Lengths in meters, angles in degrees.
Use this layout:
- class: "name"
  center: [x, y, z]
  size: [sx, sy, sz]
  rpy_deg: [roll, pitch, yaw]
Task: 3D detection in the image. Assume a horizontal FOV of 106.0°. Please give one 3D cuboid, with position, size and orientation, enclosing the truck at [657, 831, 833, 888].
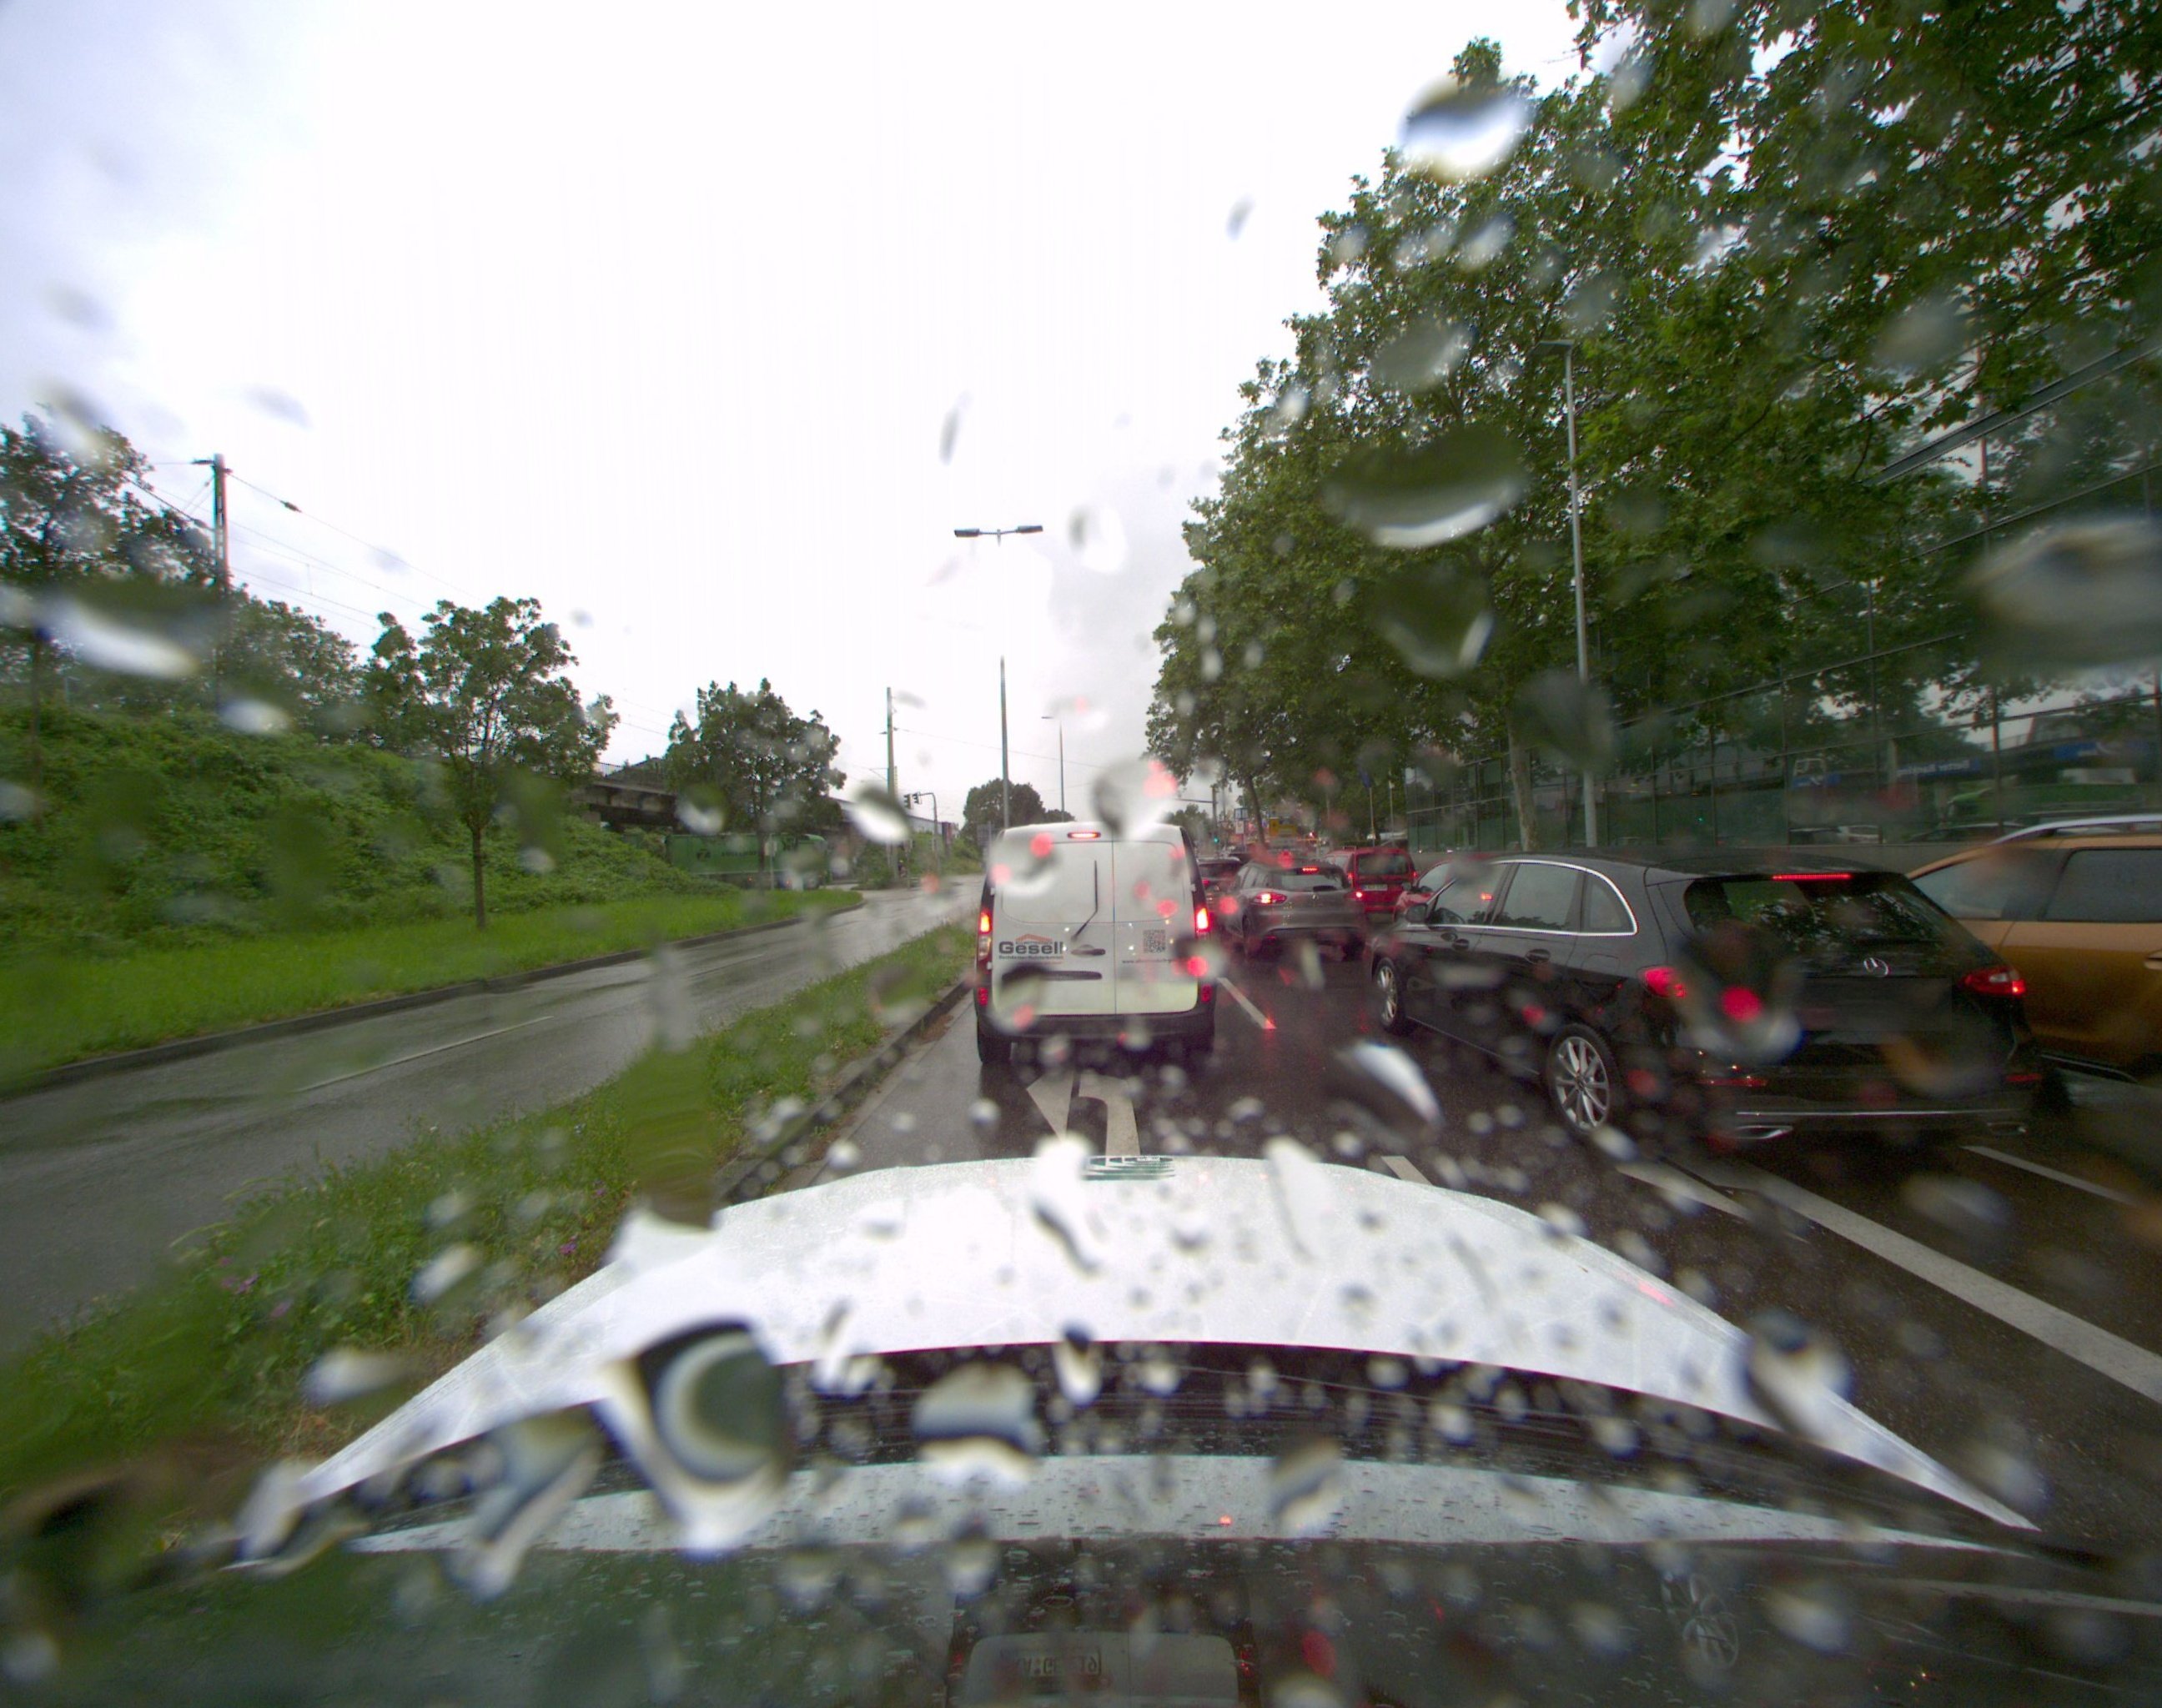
- class: "truck"
  center: [-21.357, 0.256, 52.275]
  size: [10.105, 3.371, 2.322]
  rpy_deg: [-2, 0, -35]

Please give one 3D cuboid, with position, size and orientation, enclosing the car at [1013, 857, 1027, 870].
- class: "car"
  center: [-7.970, 1.177, 106.759]
  size: [1.463, 1.559, 3.508]
  rpy_deg: [-2, 0, 1]

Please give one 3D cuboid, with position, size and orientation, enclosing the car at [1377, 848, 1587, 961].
- class: "car"
  center: [5.889, 0.663, 12.411]
  size: [1.563, 1.462, 3.390]
  rpy_deg: [-1, 0, 1]

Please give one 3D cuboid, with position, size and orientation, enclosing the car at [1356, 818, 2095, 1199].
- class: "car"
  center: [3.381, 0.645, 5.444]
  size: [1.741, 1.554, 4.091]
  rpy_deg: [-1, 0, 1]

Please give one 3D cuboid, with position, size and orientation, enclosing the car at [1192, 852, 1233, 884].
- class: "car"
  center: [7.090, 0.750, 44.197]
  size: [1.702, 1.650, 3.844]
  rpy_deg: [-1, -1, 2]

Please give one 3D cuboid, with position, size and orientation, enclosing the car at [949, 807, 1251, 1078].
- class: "car"
  center: [0.198, 0.587, 7.767]
  size: [1.986, 1.776, 4.587]
  rpy_deg: [-1, 0, 2]

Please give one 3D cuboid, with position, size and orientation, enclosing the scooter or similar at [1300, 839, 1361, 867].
- class: "scooter or similar"
  center: [23.449, -0.086, 76.681]
  size: [1.905, 2.446, 5.257]
  rpy_deg: [-1, 0, -39]

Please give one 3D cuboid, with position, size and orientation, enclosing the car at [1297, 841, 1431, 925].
- class: "car"
  center: [6.313, 0.613, 18.673]
  size: [1.704, 1.694, 4.273]
  rpy_deg: [0, -1, 2]

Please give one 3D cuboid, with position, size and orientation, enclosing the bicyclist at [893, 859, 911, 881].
- class: "bicyclist"
  center: [-12.256, 1.081, 55.881]
  size: [1.045, 1.450, 0.723]
  rpy_deg: [-2, 0, -23]

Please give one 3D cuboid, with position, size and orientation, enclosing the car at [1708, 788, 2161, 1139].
- class: "car"
  center: [6.057, 0.519, 4.779]
  size: [1.668, 1.685, 4.149]
  rpy_deg: [0, 1, 2]

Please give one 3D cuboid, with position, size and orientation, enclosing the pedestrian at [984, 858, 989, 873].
- class: "pedestrian"
  center: [-11.246, 1.360, 96.708]
  size: [0.541, 1.716, 0.563]
  rpy_deg: [0, -1, -2]

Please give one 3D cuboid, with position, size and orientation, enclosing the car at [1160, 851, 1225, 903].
- class: "car"
  center: [3.839, 0.758, 28.705]
  size: [1.847, 1.649, 3.844]
  rpy_deg: [-1, 0, 2]

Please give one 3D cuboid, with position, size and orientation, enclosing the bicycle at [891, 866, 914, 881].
- class: "bicycle"
  center: [-12.269, 1.333, 55.955]
  size: [1.045, 0.952, 2.866]
  rpy_deg: [-2, 0, -22]

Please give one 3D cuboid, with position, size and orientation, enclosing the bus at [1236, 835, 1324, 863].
- class: "bus"
  center: [28.086, -0.769, 115.032]
  size: [11.956, 3.423, 2.478]
  rpy_deg: [-2, 0, -6]

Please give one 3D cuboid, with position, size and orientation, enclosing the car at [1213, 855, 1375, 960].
- class: "car"
  center: [3.243, 0.744, 13.121]
  size: [1.677, 1.408, 3.844]
  rpy_deg: [0, 0, 1]

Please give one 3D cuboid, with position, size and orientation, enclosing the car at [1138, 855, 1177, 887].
- class: "car"
  center: [4.106, 0.892, 44.250]
  size: [1.847, 1.650, 3.844]
  rpy_deg: [-1, -1, 2]

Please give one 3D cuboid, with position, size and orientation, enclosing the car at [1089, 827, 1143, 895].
- class: "car"
  center: [1.283, 0.234, 30.283]
  size: [1.847, 2.296, 3.844]
  rpy_deg: [-1, 0, 2]

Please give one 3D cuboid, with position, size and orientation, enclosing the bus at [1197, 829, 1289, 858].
- class: "bus"
  center: [21.890, -1.360, 110.586]
  size: [11.926, 3.423, 2.316]
  rpy_deg: [-2, 0, 1]

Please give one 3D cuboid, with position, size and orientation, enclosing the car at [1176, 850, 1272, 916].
- class: "car"
  center: [3.506, 0.665, 20.677]
  size: [1.847, 1.460, 3.844]
  rpy_deg: [-1, 0, 2]
